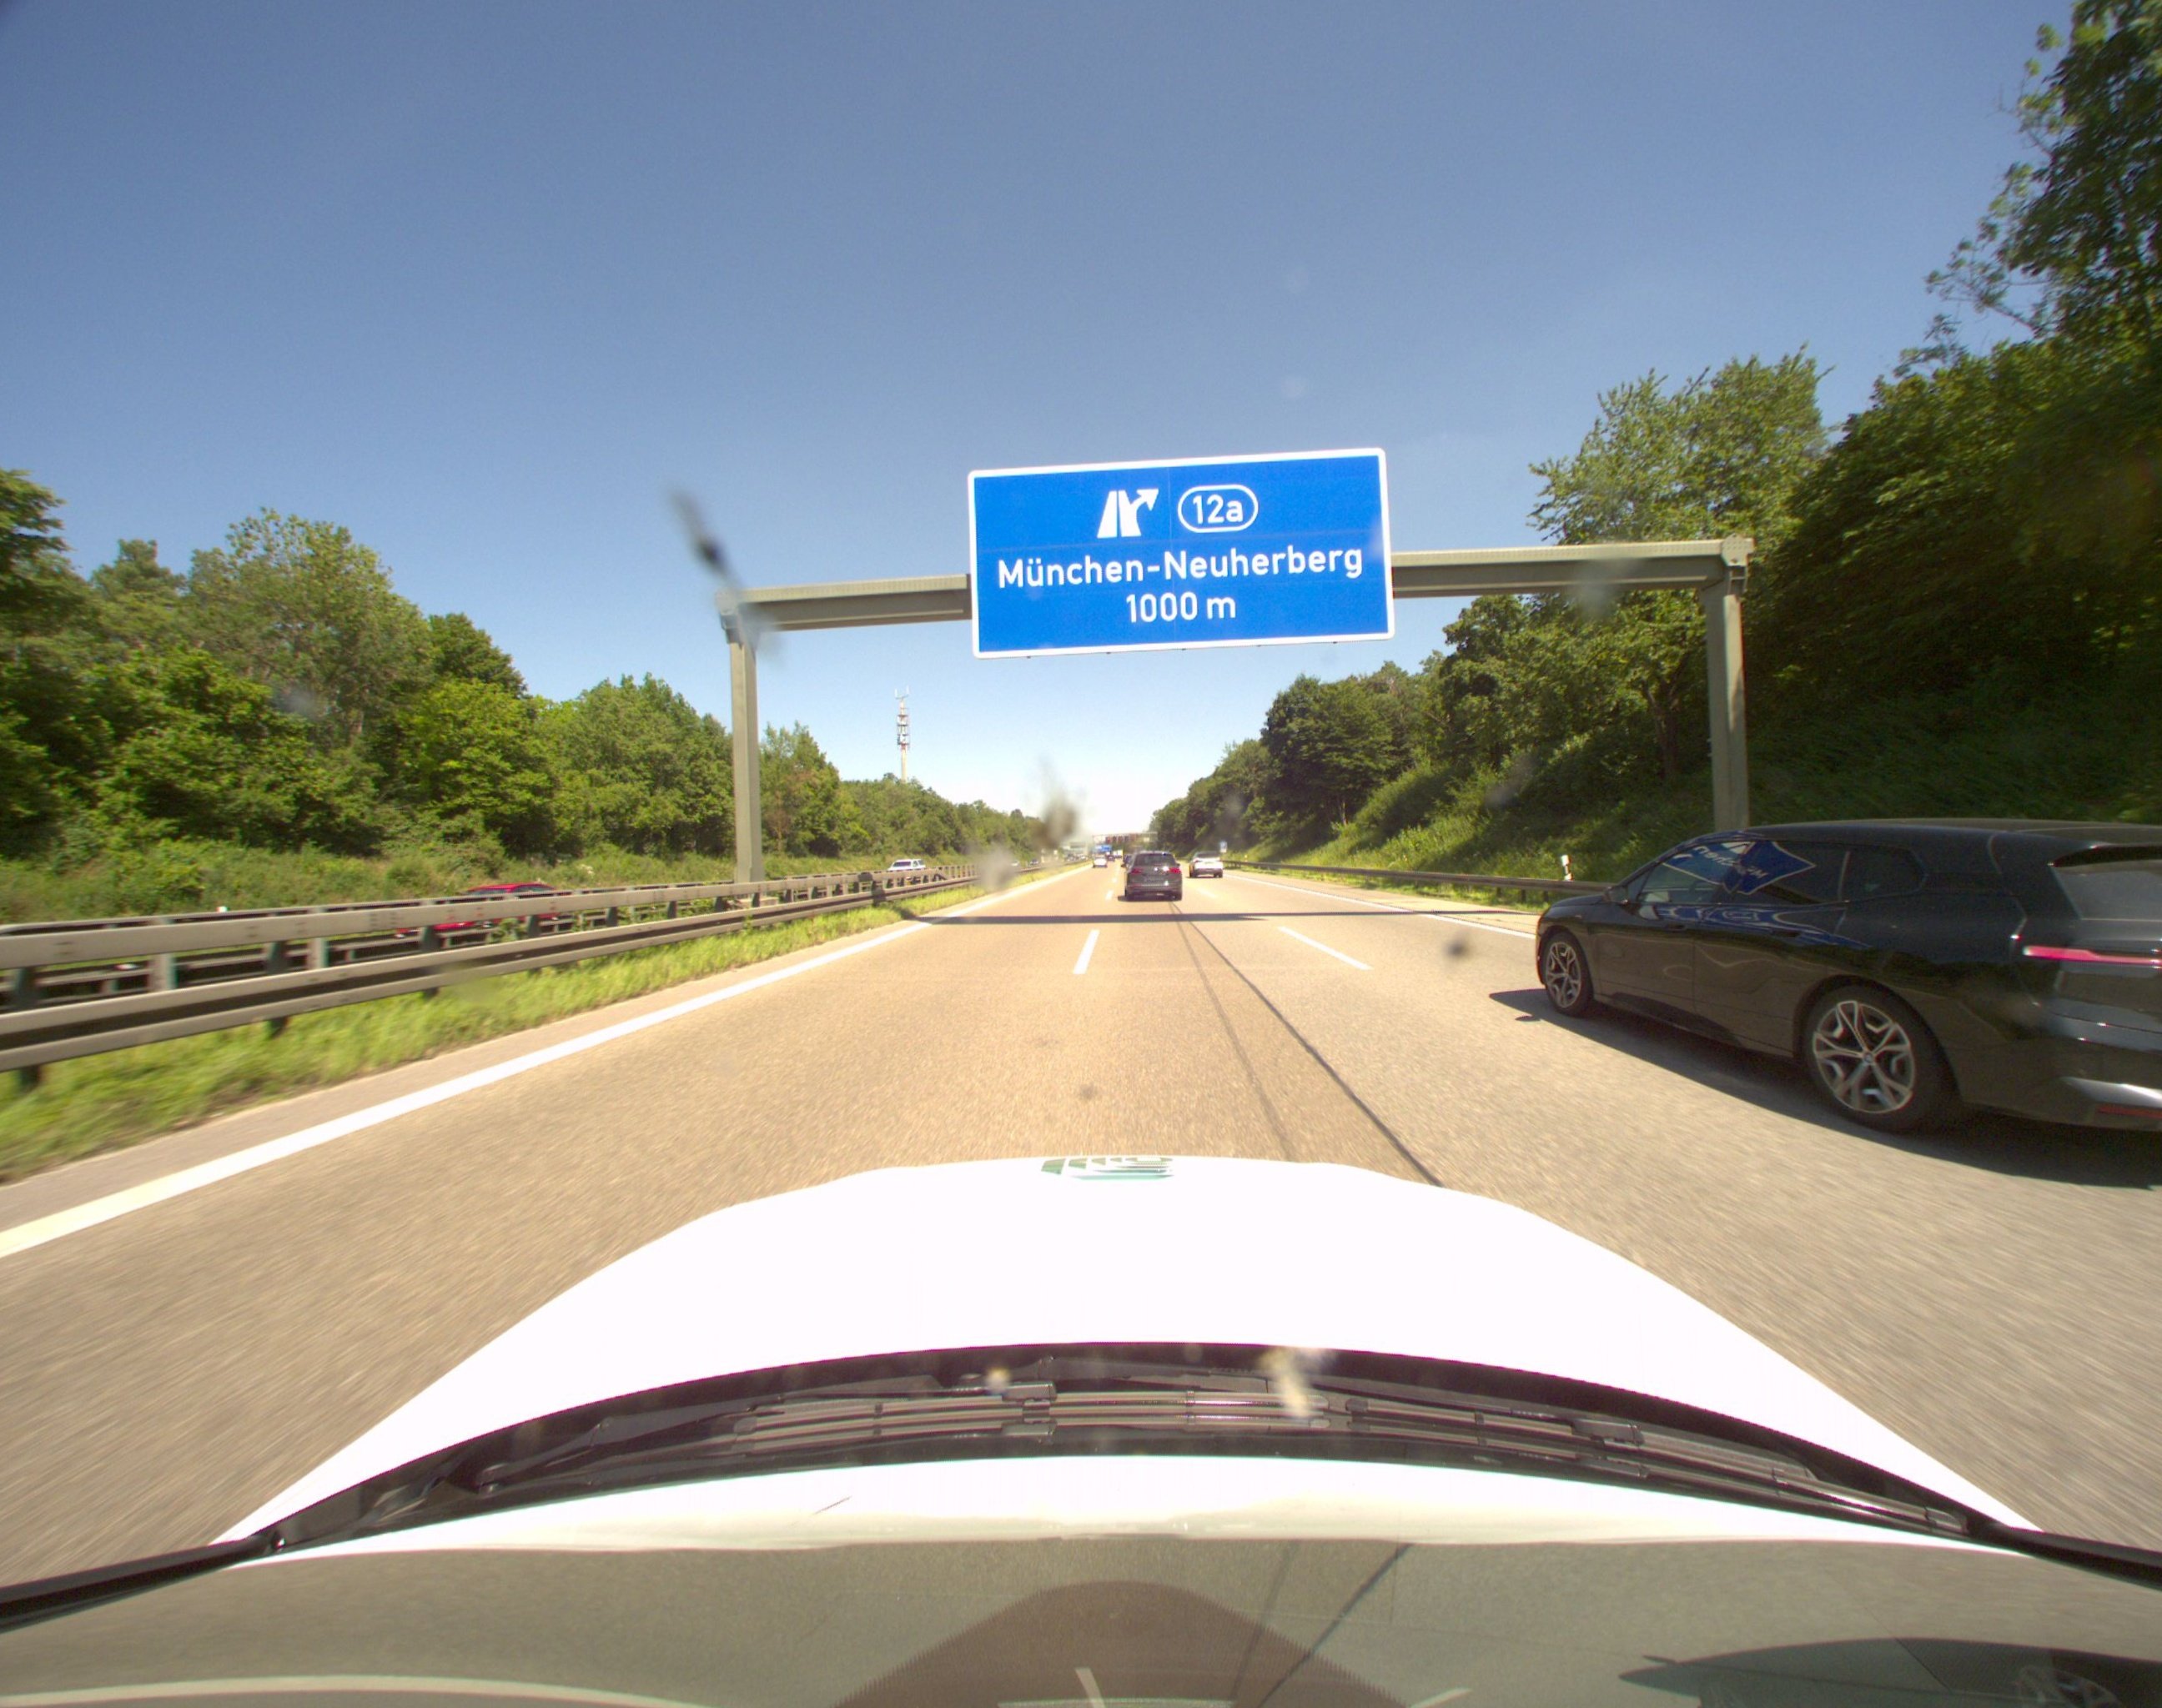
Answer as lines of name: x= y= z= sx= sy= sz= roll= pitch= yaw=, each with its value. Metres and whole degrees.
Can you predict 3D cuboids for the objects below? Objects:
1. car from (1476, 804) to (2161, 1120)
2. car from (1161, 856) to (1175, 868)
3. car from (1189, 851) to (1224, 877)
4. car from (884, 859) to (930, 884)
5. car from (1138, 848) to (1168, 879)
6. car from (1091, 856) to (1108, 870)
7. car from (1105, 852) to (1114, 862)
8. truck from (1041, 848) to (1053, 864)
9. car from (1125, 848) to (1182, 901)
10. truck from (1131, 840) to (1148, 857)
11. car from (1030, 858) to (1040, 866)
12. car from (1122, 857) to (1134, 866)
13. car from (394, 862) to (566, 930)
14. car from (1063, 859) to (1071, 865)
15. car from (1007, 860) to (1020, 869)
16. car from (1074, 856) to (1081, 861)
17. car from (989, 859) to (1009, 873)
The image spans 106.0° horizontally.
car: x=5.204 y=0.579 z=6.682 sx=1.911 sy=1.669 sz=4.691 roll=-1 pitch=0 yaw=4
car: x=12.032 y=1.115 z=112.321 sx=1.757 sy=1.568 sz=4.262 roll=0 pitch=0 yaw=4
car: x=7.855 y=0.630 z=51.365 sx=1.835 sy=1.568 sz=4.039 roll=0 pitch=0 yaw=4
car: x=-12.713 y=1.259 z=59.948 sx=1.770 sy=1.633 sz=5.544 roll=-4 pitch=0 yaw=3
car: x=4.714 y=0.602 z=53.731 sx=1.658 sy=1.876 sz=4.830 roll=-3 pitch=0 yaw=2
car: x=2.239 y=1.081 z=98.054 sx=1.757 sy=1.568 sz=4.262 roll=0 pitch=0 yaw=4
car: x=6.151 y=0.660 z=175.788 sx=1.986 sy=2.013 sz=4.002 roll=-2 pitch=0 yaw=2
truck: x=-9.250 y=0.620 z=222.104 sx=2.605 sy=4.058 sz=4.002 roll=-4 pitch=0 yaw=2
car: x=2.425 y=0.652 z=27.829 sx=1.791 sy=1.669 sz=4.262 roll=0 pitch=0 yaw=4
truck: x=16.294 y=-1.409 z=227.618 sx=3.767 sy=4.422 sz=14.052 roll=-1 pitch=0 yaw=1
car: x=-9.867 y=1.691 z=175.865 sx=1.589 sy=1.568 sz=4.371 roll=-4 pitch=0 yaw=2
car: x=7.176 y=1.138 z=123.395 sx=1.757 sy=1.381 sz=4.262 roll=0 pitch=0 yaw=4
car: x=-15.158 y=0.991 z=20.789 sx=1.589 sy=1.442 sz=3.544 roll=-4 pitch=0 yaw=2
car: x=-3.226 y=1.905 z=191.405 sx=1.480 sy=1.356 sz=4.420 roll=-3 pitch=0 yaw=2
car: x=-12.270 y=1.873 z=147.840 sx=1.621 sy=1.492 sz=4.945 roll=-4 pitch=0 yaw=3
car: x=-1.025 y=1.333 z=248.588 sx=1.800 sy=1.405 sz=4.821 roll=-3 pitch=0 yaw=2
car: x=-10.379 y=1.497 z=103.343 sx=1.749 sy=1.568 sz=4.433 roll=-4 pitch=0 yaw=3
